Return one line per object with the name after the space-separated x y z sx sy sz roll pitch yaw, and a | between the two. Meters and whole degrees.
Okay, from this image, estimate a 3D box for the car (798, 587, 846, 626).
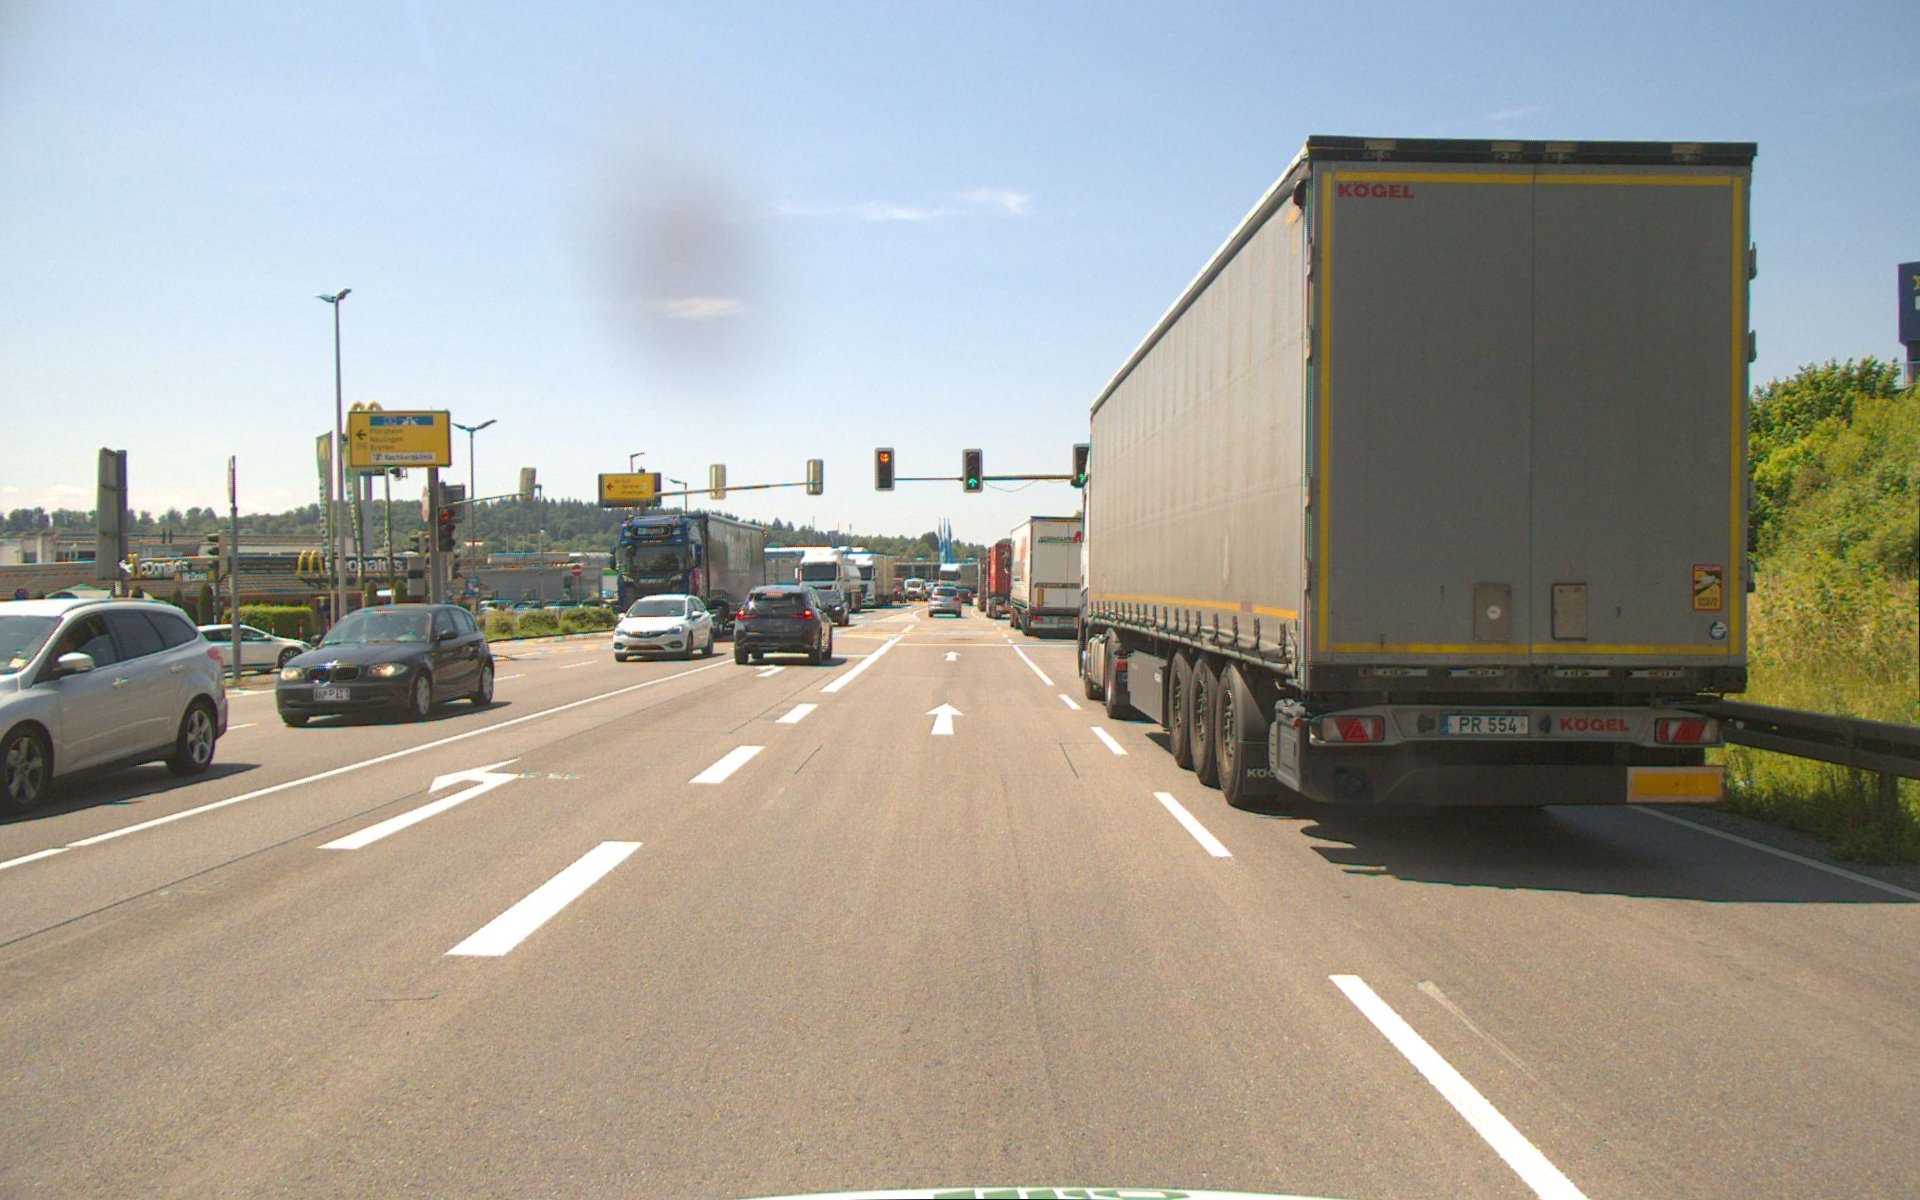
-5.855 0.257 70.533 1.629 1.535 3.905 -1 0 1 | car

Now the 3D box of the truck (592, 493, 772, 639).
-9.599 -1.120 59.999 3.081 4.425 17.546 -1 0 1 | truck

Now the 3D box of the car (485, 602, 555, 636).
-27.817 1.191 104.608 1.905 2.049 3.985 -1 0 36 | car

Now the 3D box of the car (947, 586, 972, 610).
-0.027 -0.205 146.703 1.952 2.049 4.002 -1 0 3 | car

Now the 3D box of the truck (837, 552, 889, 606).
-7.537 -1.595 130.330 2.874 4.019 13.867 -1 0 1 | truck

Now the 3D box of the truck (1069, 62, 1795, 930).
3.126 -0.450 17.343 2.699 4.720 16.651 0 -1 -1 | truck

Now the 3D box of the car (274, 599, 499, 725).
-7.282 0.721 21.392 1.629 1.428 4.015 -1 0 -2 | car

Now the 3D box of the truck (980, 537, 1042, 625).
2.764 -0.875 94.018 2.816 4.557 16.651 0 -1 -1 | truck

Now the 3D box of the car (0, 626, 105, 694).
-24.575 1.549 42.657 1.717 1.629 4.177 -1 0 39 | car

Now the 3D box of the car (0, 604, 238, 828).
-7.236 0.794 12.513 1.753 1.451 4.262 -2 0 -2 | car

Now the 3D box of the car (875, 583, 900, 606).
-6.679 -0.488 152.592 1.952 2.049 4.001 0 -1 3 | car

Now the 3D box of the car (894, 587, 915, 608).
-5.680 -0.234 170.347 1.865 2.049 4.001 0 -1 3 | car

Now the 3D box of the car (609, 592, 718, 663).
-6.993 0.660 39.413 1.705 1.529 4.406 -2 -1 1 | car

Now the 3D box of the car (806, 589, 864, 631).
-4.736 0.350 63.227 1.773 1.535 4.946 -1 0 0 | car

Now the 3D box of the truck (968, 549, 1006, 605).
1.924 -1.627 120.789 2.555 3.782 9.448 0 -1 0 | truck

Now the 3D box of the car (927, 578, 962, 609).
-0.841 -0.352 92.195 1.767 1.699 4.292 0 0 2 | car

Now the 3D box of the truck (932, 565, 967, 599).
-1.261 -2.205 211.508 3.202 4.019 13.872 0 -1 5 | truck

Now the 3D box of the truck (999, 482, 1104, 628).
3.179 -1.344 62.013 2.816 4.720 16.651 0 -1 -1 | truck

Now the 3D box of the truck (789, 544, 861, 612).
-8.489 -1.355 105.745 2.873 4.019 14.241 -1 0 2 | truck

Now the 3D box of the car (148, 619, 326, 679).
-19.160 1.286 43.948 1.757 1.506 3.990 0 -1 41 | car

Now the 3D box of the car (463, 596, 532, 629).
-29.562 0.778 105.800 1.905 2.049 3.985 -1 0 36 | car

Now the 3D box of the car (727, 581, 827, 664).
-3.882 0.439 35.749 1.757 1.655 4.368 -1 0 -1 | car
